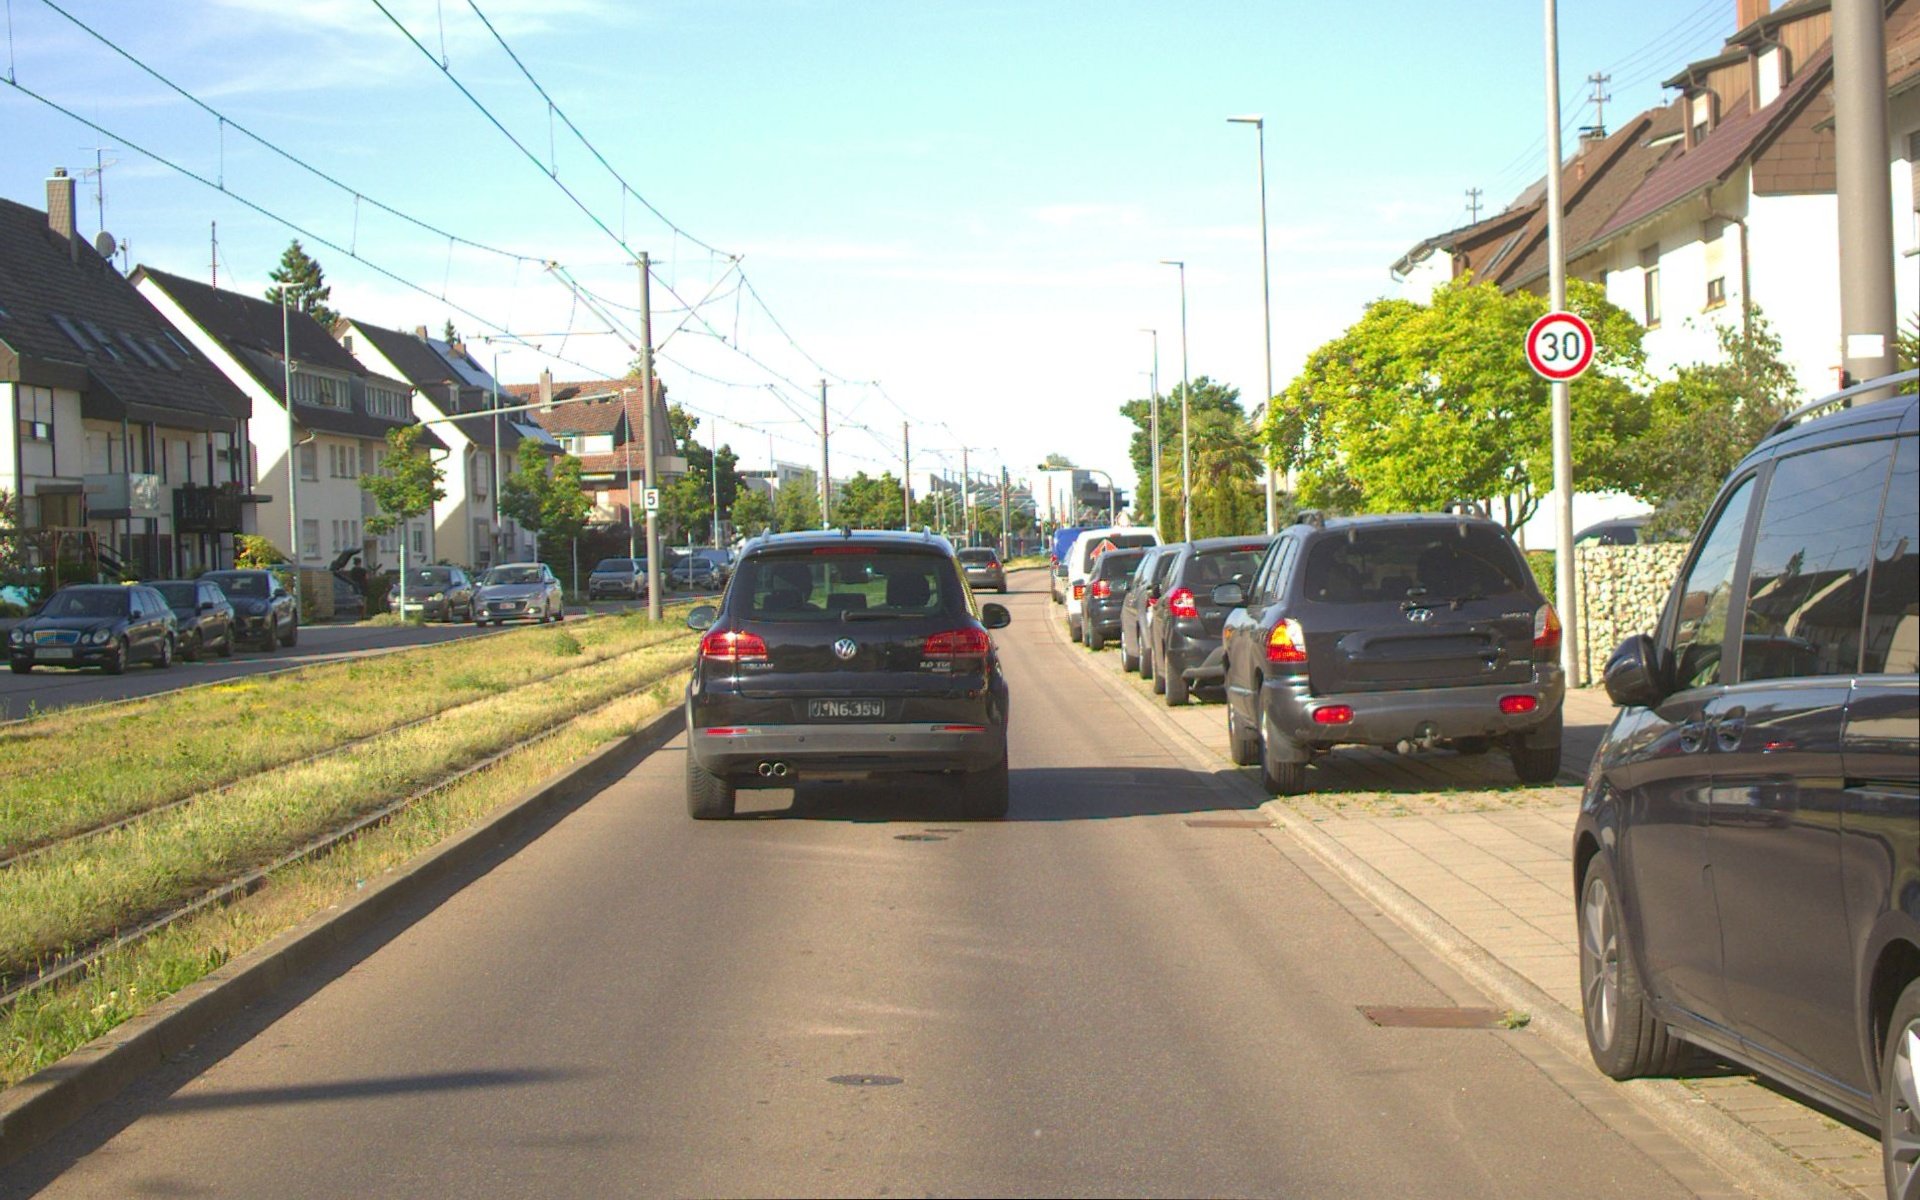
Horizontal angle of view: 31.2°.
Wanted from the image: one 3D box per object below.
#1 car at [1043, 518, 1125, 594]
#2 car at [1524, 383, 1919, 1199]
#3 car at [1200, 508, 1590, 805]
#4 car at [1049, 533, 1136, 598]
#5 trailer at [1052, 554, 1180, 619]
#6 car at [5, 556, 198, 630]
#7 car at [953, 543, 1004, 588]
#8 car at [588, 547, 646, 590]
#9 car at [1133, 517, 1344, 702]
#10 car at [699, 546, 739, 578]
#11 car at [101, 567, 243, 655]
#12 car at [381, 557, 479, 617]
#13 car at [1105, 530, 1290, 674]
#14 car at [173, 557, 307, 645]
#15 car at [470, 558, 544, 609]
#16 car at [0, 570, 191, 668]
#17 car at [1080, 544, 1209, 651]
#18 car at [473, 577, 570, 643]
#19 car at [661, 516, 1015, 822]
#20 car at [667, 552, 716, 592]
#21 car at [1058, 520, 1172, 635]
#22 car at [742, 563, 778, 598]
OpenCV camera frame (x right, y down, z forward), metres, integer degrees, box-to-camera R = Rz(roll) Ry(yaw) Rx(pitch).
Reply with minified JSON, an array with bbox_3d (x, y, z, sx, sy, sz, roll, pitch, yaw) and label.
[{"bbox_3d":[3.220,-1.161,90.036,1.993,1.855,4.917,-2,1,1],"label":"car"},{"bbox_3d":[2.780,0.449,8.216,1.961,1.830,4.927,-2,1,0],"label":"car"},{"bbox_3d":[2.674,0.289,22.121,1.854,1.653,4.474,-2,1,0],"label":"car"},{"bbox_3d":[3.201,-0.861,83.666,1.786,1.436,4.460,-3,1,-1],"label":"car"},{"bbox_3d":[2.975,-0.277,66.625,2.204,1.090,4.372,-3,1,0],"label":"trailer"},{"bbox_3d":[-20.513,-0.187,82.276,4.165,1.611,1.760,-2,1,-3],"label":"car"},{"bbox_3d":[0.590,-1.120,110.148,1.572,1.386,3.614,-2,1,1],"label":"car"},{"bbox_3d":[-12.534,-1.167,125.664,1.659,1.491,3.579,-2,1,1],"label":"car"},{"bbox_3d":[2.589,0.051,32.687,1.666,1.542,3.835,-4,1,1],"label":"car"},{"bbox_3d":[-10.743,-1.696,153.388,1.515,1.357,3.590,-2,1,0],"label":"car"},{"bbox_3d":[-14.361,0.176,62.853,1.520,1.470,4.201,-2,1,1],"label":"car"},{"bbox_3d":[-13.823,-0.353,89.800,1.619,1.448,3.717,-2,1,5],"label":"car"},{"bbox_3d":[2.613,0.001,38.665,1.615,1.470,4.450,-2,1,-1],"label":"car"},{"bbox_3d":[-14.277,-0.016,68.371,1.802,1.591,4.813,-2,1,-3],"label":"car"},{"bbox_3d":[-13.500,-0.466,102.542,1.619,1.404,3.717,-2,-1,1],"label":"car"},{"bbox_3d":[-14.447,0.286,57.377,1.877,1.517,4.880,-1,1,3],"label":"car"},{"bbox_3d":[2.677,-0.062,50.633,1.671,1.448,4.126,-2,1,1],"label":"car"},{"bbox_3d":[-10.566,0.253,83.017,1.708,1.485,4.024,-2,-1,1],"label":"car"},{"bbox_3d":[-0.847,0.360,20.915,1.811,1.665,4.258,0,0,-7],"label":"car"},{"bbox_3d":[-11.558,-1.207,148.019,1.660,1.575,4.000,-2,-1,1],"label":"car"},{"bbox_3d":[2.525,-0.404,56.778,1.690,1.770,4.656,-2,1,1],"label":"car"},{"bbox_3d":[-9.926,-0.984,170.775,1.465,1.671,3.287,-2,0,1],"label":"car"}]
